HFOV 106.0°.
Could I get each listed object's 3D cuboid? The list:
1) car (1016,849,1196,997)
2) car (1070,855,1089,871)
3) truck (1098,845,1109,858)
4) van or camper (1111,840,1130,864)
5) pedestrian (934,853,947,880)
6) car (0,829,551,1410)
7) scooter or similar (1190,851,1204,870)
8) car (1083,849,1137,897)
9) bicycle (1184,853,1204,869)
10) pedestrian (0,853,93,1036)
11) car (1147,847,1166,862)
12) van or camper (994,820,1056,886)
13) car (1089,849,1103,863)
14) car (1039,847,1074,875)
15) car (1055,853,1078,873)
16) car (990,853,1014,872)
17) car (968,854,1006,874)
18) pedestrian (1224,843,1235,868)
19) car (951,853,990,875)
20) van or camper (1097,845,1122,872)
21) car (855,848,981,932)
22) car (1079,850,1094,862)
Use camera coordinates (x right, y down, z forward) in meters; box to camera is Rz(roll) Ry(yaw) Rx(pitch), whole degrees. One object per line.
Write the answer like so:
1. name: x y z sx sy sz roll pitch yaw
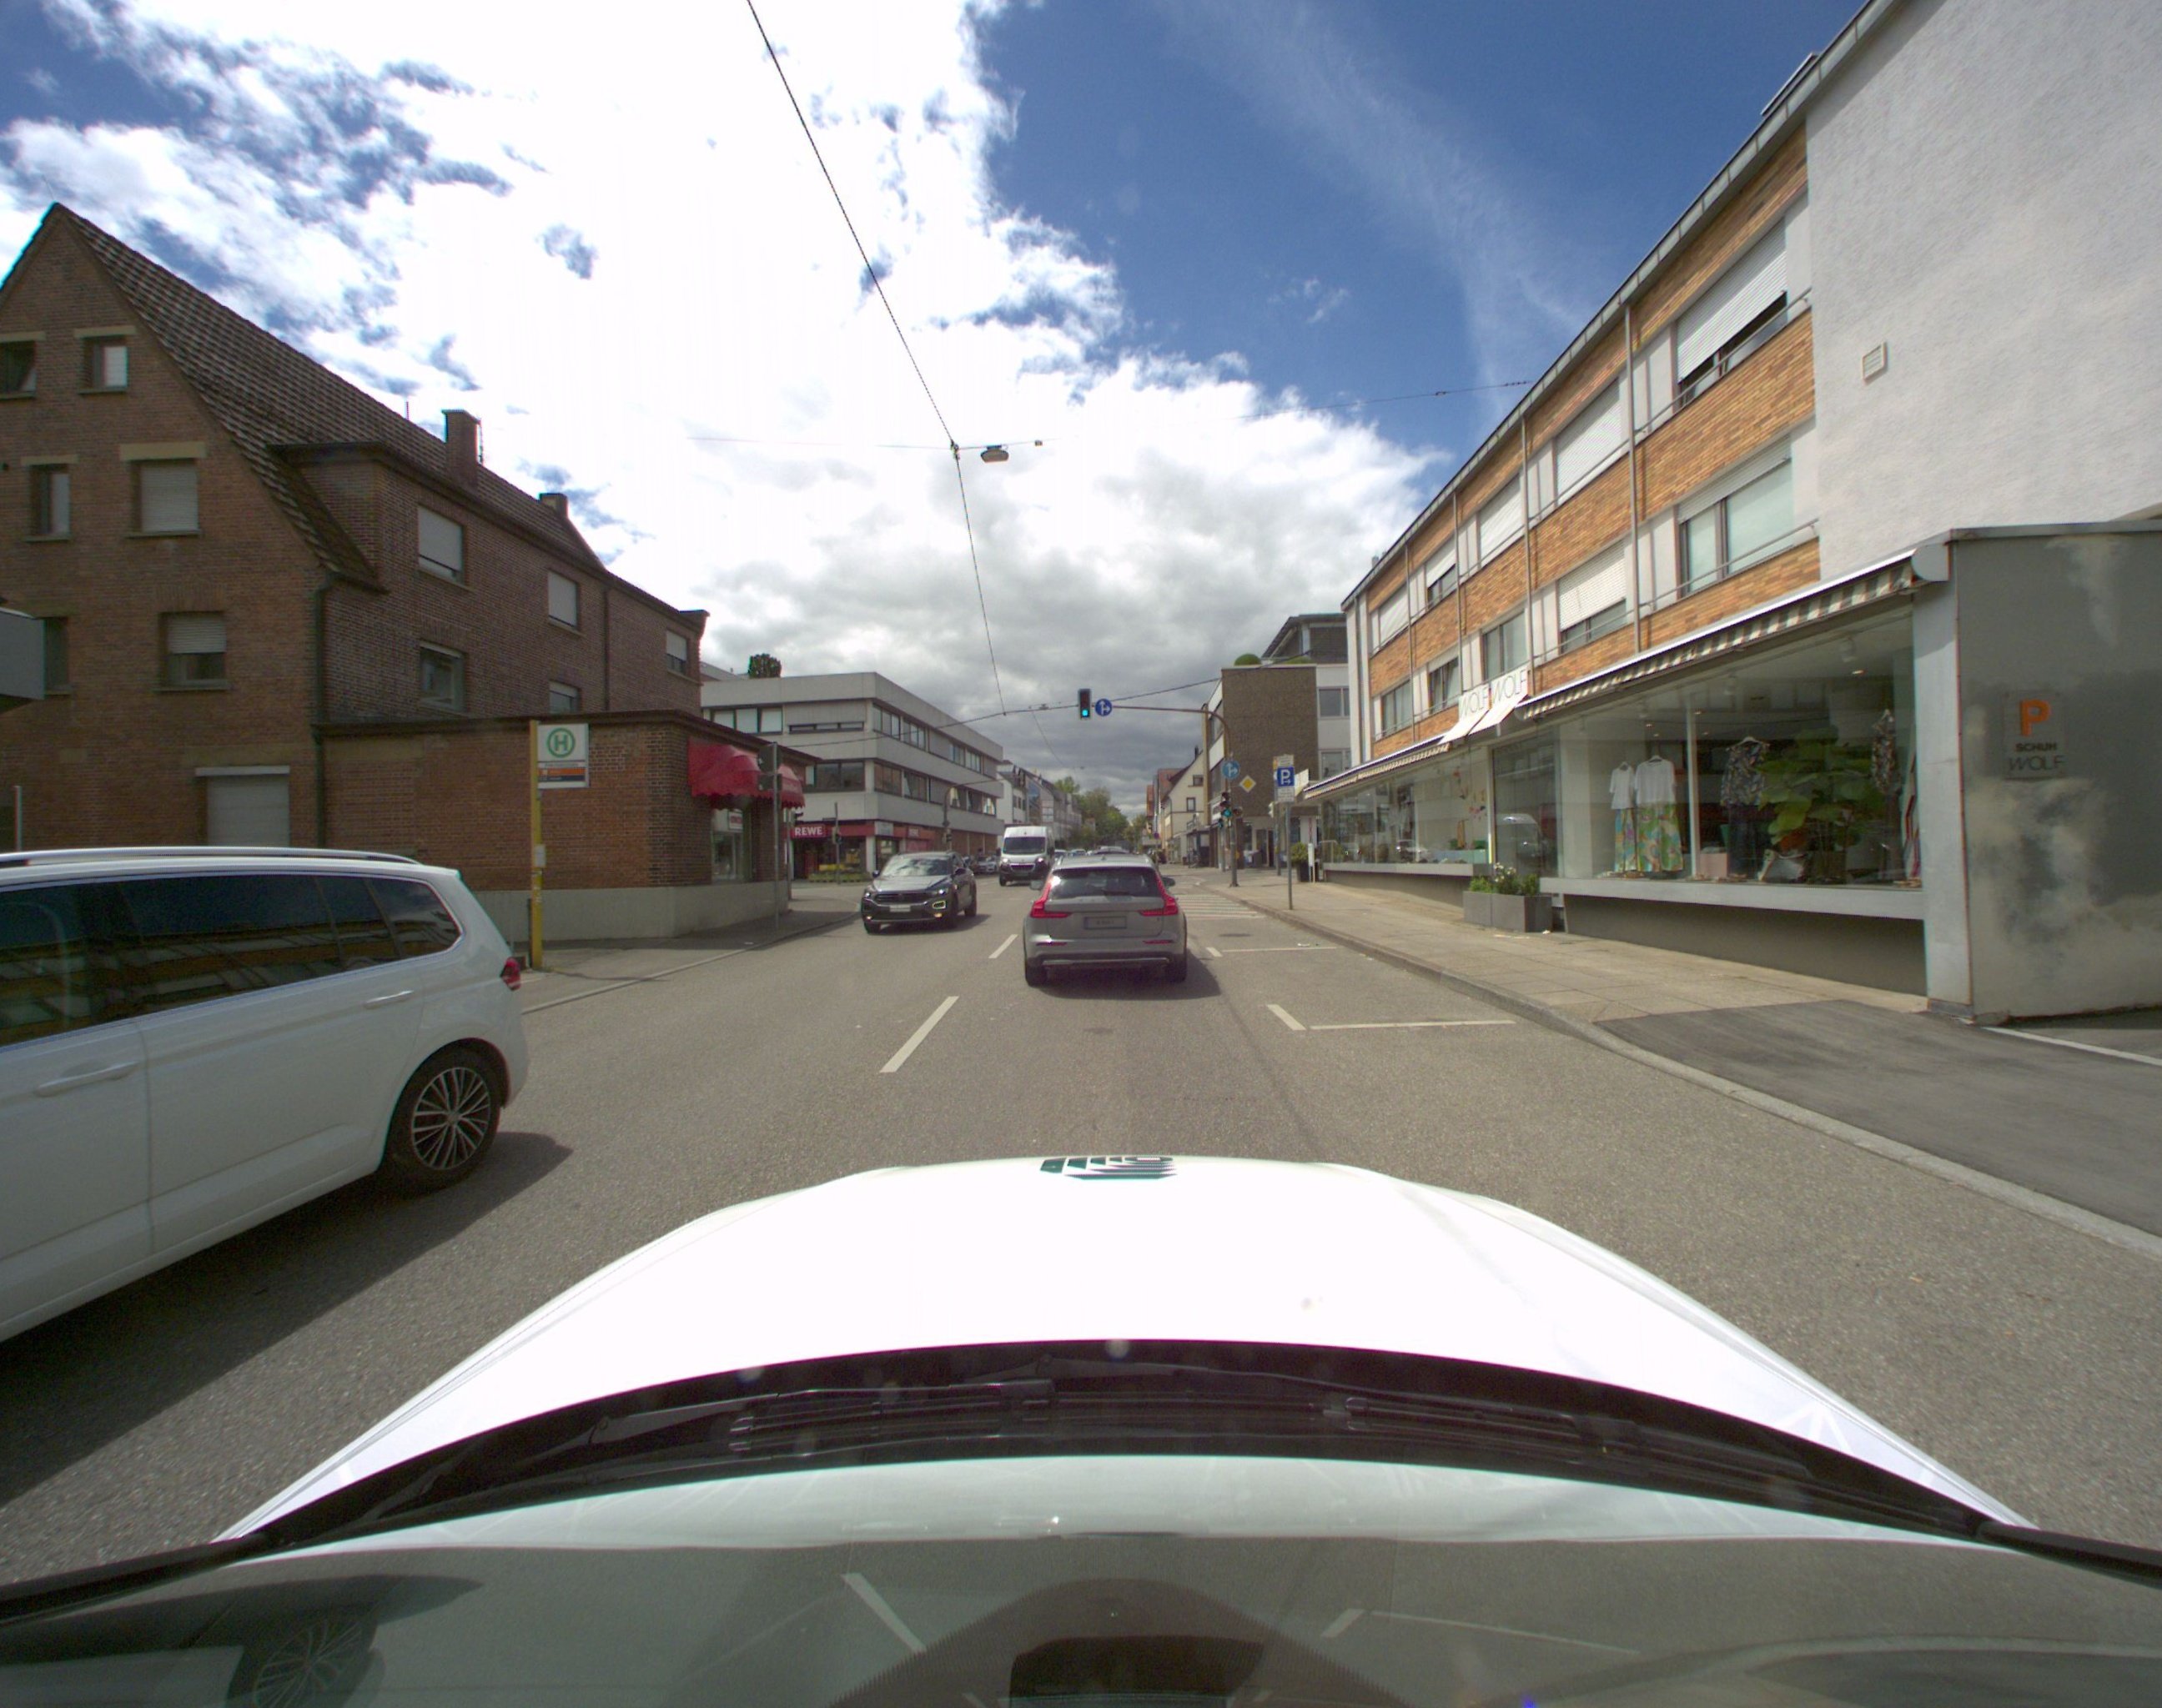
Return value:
1. car: 0.322 0.704 10.438 1.829 1.486 4.002 -1 1 2
2. car: -0.137 0.943 84.794 1.676 1.497 3.970 -2 -1 3
3. truck: 5.531 -0.612 199.537 2.266 2.886 7.085 -2 0 3
4. van or camper: 4.780 -0.239 97.830 2.114 2.686 4.785 -2 0 3
5. pedestrian: -8.603 0.766 49.970 0.616 1.641 0.661 -2 0 3
6. car: -3.911 0.778 2.531 1.769 1.613 4.119 -3 0 0
7. scooter or similar: 8.241 0.454 57.857 0.342 1.253 1.236 -4 -1 -23
8. car: 0.972 0.604 27.295 1.644 1.482 3.609 -1 -1 2
9. bicycle: 8.407 0.515 60.737 0.555 1.144 2.288 -2 0 -15
10. pedestrian: -9.391 0.776 7.136 0.776 1.558 0.567 2 -3 -39
11. car: 7.940 0.107 85.797 1.705 1.464 3.999 -1 -2 0
12. van or camper: -2.313 -0.071 35.304 2.141 2.556 5.438 -2 1 1
13. car: 2.170 0.256 117.431 1.831 1.917 4.157 -1 -1 2
14. car: -1.500 0.417 51.767 1.773 1.640 4.224 -3 0 3
15. car: -1.221 0.767 68.746 1.783 1.589 4.100 -2 -1 0
16. car: -6.624 0.725 68.597 1.601 1.543 2.947 0 0 3
17. car: -7.181 0.770 62.709 1.894 1.443 4.451 0 0 6
18. pedestrian: 8.873 0.078 48.625 0.500 1.459 0.502 -5 -1 15
19. car: -7.691 0.707 57.007 1.776 1.464 4.094 0 0 6
20. van or camper: 2.171 0.380 61.566 1.812 1.835 4.001 -1 -2 2
21. car: -3.322 0.668 17.295 1.784 1.511 3.845 -2 1 1
22. car: 0.744 0.251 106.615 1.661 1.554 4.218 -1 0 3
